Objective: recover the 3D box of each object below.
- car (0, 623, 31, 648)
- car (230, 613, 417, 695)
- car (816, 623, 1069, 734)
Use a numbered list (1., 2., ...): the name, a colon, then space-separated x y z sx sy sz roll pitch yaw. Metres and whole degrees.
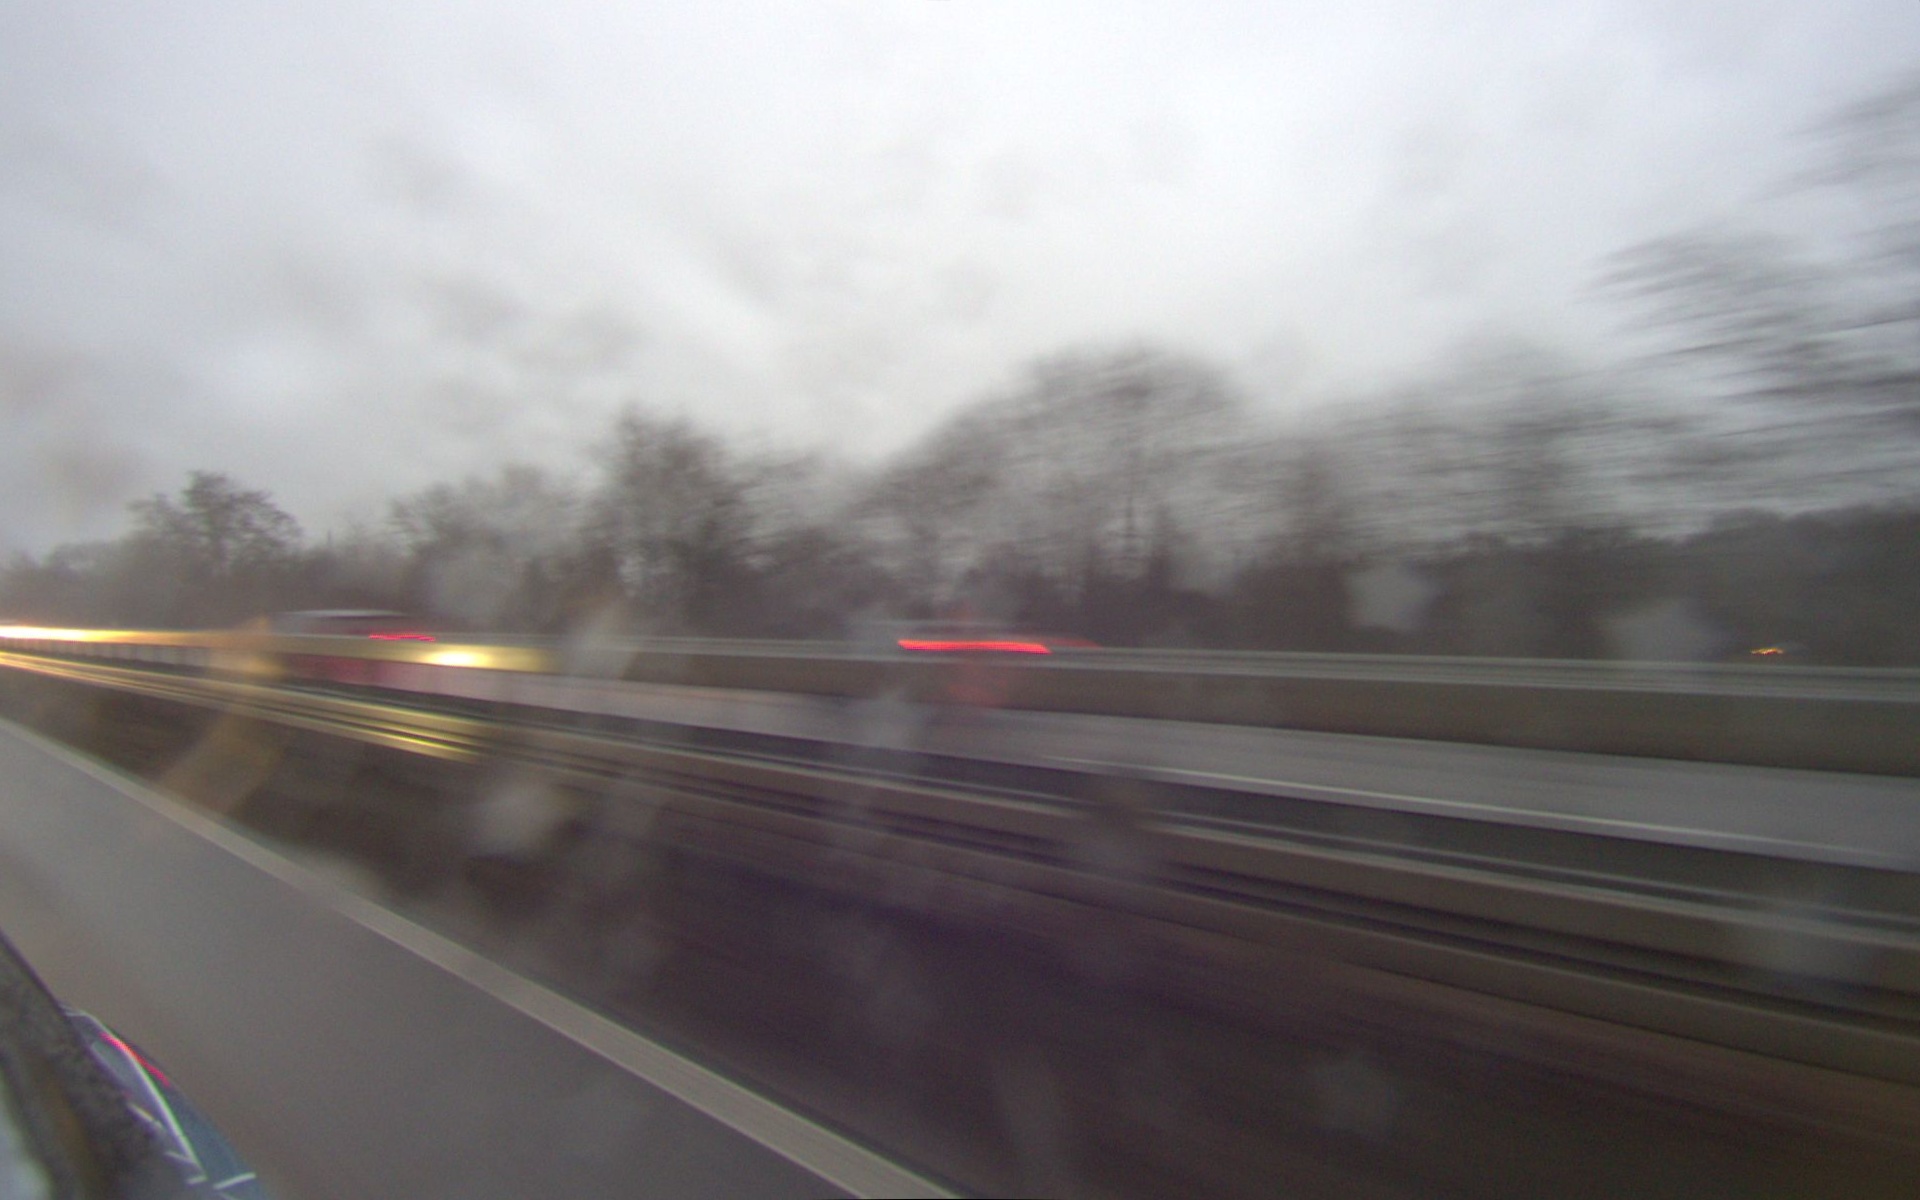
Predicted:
1. car: -61.585 2.273 65.297 3.996 1.434 1.700 -1 -9 39
2. car: -13.407 1.133 21.242 4.420 1.434 1.858 -1 -9 39
3. car: -0.323 1.059 14.827 3.543 1.434 1.585 -1 -2 39
